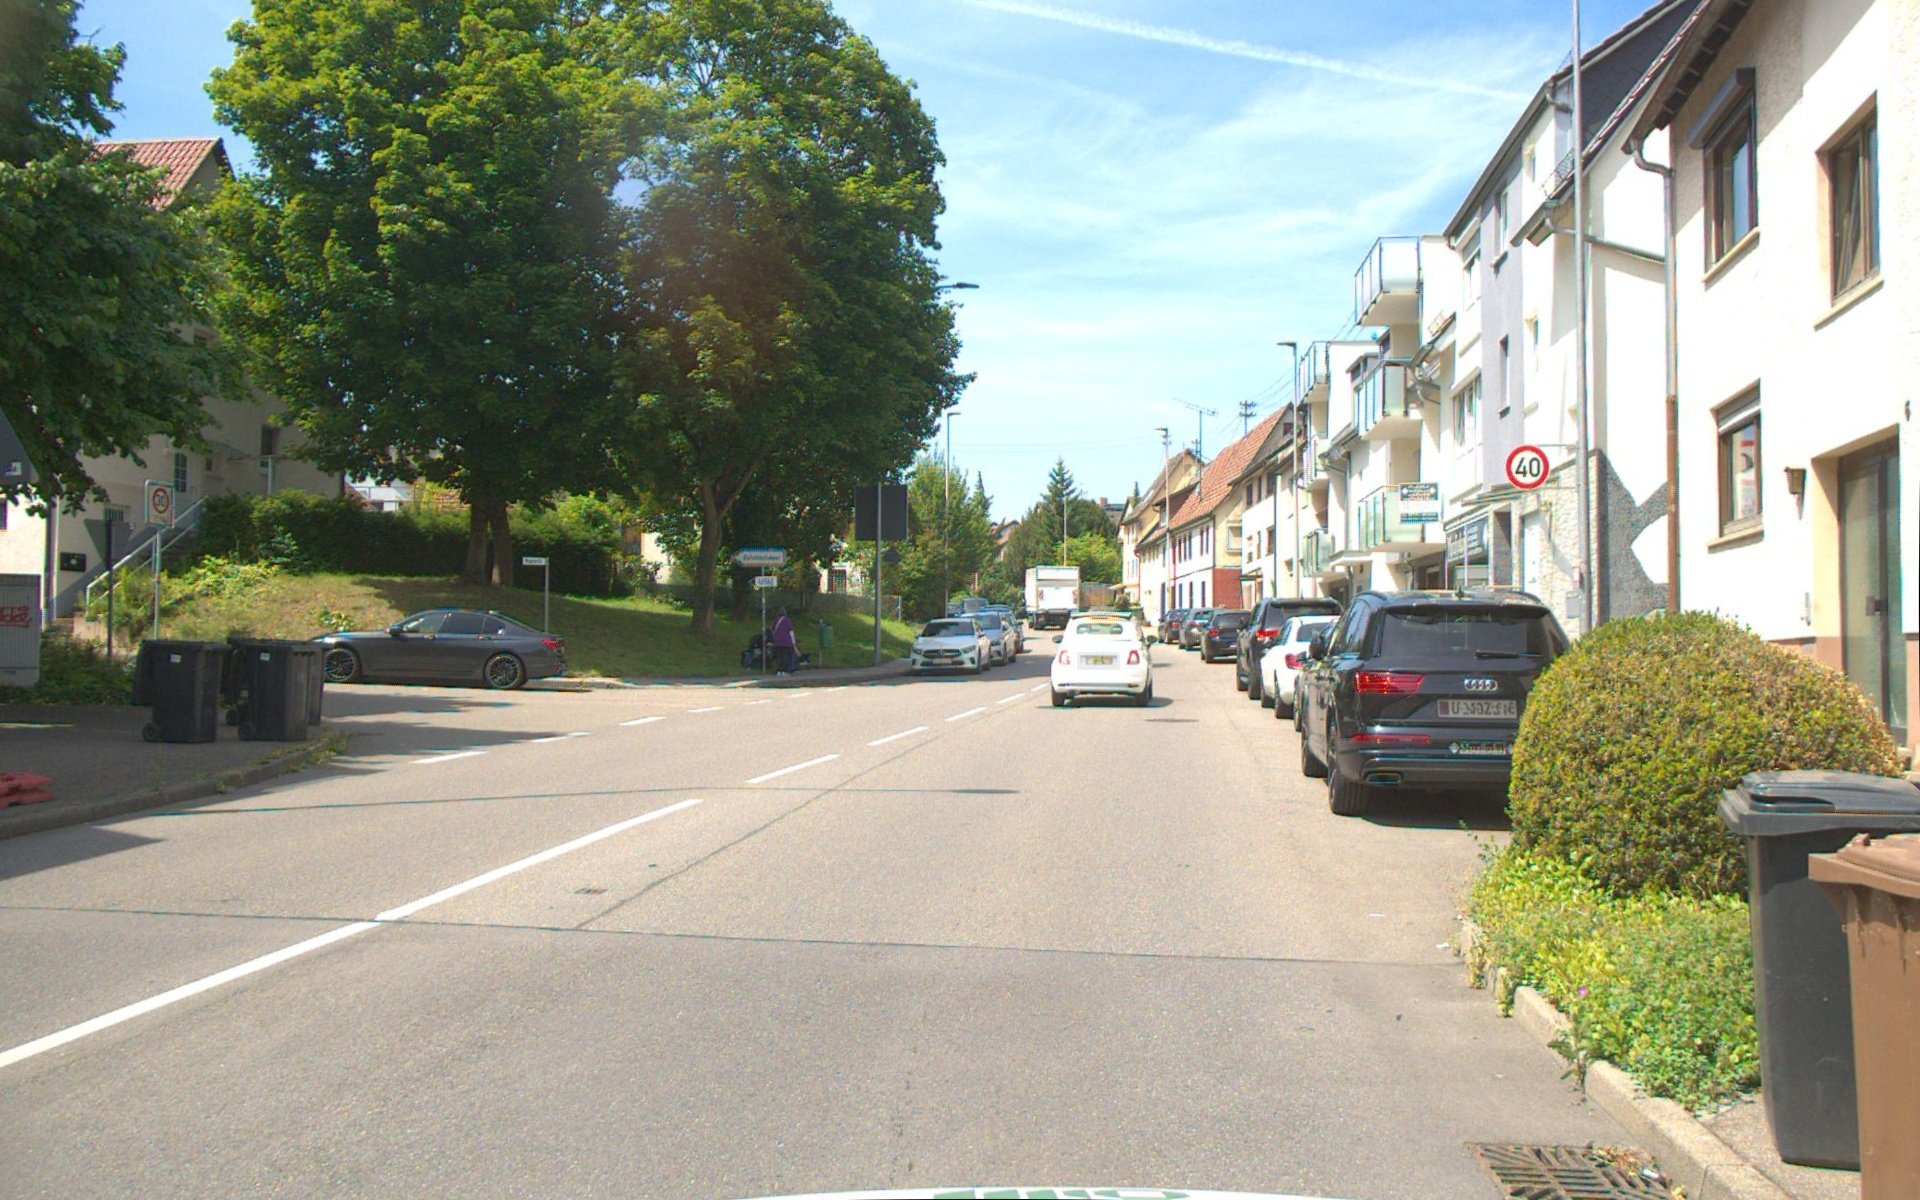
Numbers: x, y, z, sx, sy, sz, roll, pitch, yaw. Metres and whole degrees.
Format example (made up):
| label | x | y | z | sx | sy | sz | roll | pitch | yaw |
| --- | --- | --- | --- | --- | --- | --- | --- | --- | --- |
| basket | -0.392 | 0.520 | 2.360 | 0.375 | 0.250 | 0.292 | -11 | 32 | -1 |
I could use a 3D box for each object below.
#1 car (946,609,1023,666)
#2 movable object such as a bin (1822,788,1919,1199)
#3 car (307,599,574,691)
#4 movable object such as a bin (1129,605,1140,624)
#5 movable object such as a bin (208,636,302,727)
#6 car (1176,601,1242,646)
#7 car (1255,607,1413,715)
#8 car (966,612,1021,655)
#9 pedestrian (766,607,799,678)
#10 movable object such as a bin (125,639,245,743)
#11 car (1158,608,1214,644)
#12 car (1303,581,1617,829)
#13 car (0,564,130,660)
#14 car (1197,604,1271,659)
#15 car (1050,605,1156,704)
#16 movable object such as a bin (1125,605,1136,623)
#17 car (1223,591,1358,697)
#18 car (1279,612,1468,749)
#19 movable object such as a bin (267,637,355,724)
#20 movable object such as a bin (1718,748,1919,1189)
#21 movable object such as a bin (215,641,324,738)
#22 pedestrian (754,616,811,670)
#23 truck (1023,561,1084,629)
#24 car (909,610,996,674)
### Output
| label | x | y | z | sx | sy | sz | roll | pitch | yaw |
| --- | --- | --- | --- | --- | --- | --- | --- | --- | --- |
| car | 0.779 | 1.086 | 49.456 | 1.735 | 1.554 | 4.225 | -2 | 0 | 8 |
| movable object such as a bin | 2.187 | 0.930 | 3.474 | 0.490 | 1.011 | 0.503 | 1 | -1 | -1 |
| car | -10.042 | 0.877 | 32.339 | 4.691 | 1.505 | 1.994 | 3 | -1 | -12 |
| movable object such as a bin | 10.349 | 0.855 | 98.094 | 0.535 | 1.051 | 0.551 | -3 | 0 | -2 |
| movable object such as a bin | -8.405 | 0.966 | 19.747 | 0.755 | 1.018 | 0.609 | 3 | -2 | 9 |
| car | 8.623 | 0.794 | 57.576 | 1.756 | 1.427 | 4.413 | -2 | 0 | 2 |
| car | 5.617 | 0.858 | 25.350 | 1.751 | 1.481 | 4.719 | -1 | 0 | 5 |
| car | 1.279 | 1.221 | 61.149 | 1.766 | 1.448 | 4.930 | -2 | 0 | 4 |
| pedestrian | -4.132 | 0.988 | 38.527 | 0.717 | 1.645 | 0.628 | 1 | -1 | -10 |
| movable object such as a bin | -8.045 | 0.931 | 17.195 | 0.783 | 1.018 | 0.805 | 2 | -1 | 9 |
| car | 9.022 | 1.015 | 66.291 | 1.632 | 1.376 | 4.186 | 0 | 0 | 0 |
| car | 3.969 | 0.755 | 13.891 | 1.804 | 1.699 | 4.659 | 1 | -1 | 8 |
| car | -18.504 | 0.170 | 32.025 | 3.902 | 1.713 | 1.910 | 3 | -1 | 11 |
| car | 7.660 | 0.865 | 46.531 | 1.759 | 1.449 | 4.293 | -2 | -1 | 6 |
| car | 2.511 | 0.886 | 28.545 | 1.688 | 1.587 | 4.003 | 0 | 0 | 6 |
| movable object such as a bin | 10.278 | 0.843 | 99.898 | 0.535 | 1.051 | 0.551 | -3 | 0 | -2 |
| car | 5.989 | 0.754 | 30.443 | 1.912 | 1.746 | 4.719 | -1 | 0 | 5 |
| car | 4.881 | 0.890 | 20.058 | 1.750 | 1.445 | 4.361 | -1 | 0 | 8 |
| movable object such as a bin | -8.108 | 1.002 | 20.679 | 0.755 | 1.018 | 0.609 | 3 | -2 | 10 |
| movable object such as a bin | 2.274 | 0.921 | 4.300 | 0.514 | 1.011 | 0.502 | 1 | -1 | 21 |
| movable object such as a bin | -7.444 | 0.954 | 17.843 | 0.833 | 1.018 | 0.694 | 0 | -1 | 9 |
| pedestrian | -4.325 | 1.049 | 40.345 | 1.210 | 1.291 | 0.647 | 1 | -1 | 11 |
| truck | 5.560 | -0.227 | 99.416 | 3.006 | 3.840 | 7.865 | -1 | -1 | -1 |
| car | -0.136 | 1.058 | 43.269 | 1.717 | 1.492 | 4.366 | -2 | 0 | 6 |
